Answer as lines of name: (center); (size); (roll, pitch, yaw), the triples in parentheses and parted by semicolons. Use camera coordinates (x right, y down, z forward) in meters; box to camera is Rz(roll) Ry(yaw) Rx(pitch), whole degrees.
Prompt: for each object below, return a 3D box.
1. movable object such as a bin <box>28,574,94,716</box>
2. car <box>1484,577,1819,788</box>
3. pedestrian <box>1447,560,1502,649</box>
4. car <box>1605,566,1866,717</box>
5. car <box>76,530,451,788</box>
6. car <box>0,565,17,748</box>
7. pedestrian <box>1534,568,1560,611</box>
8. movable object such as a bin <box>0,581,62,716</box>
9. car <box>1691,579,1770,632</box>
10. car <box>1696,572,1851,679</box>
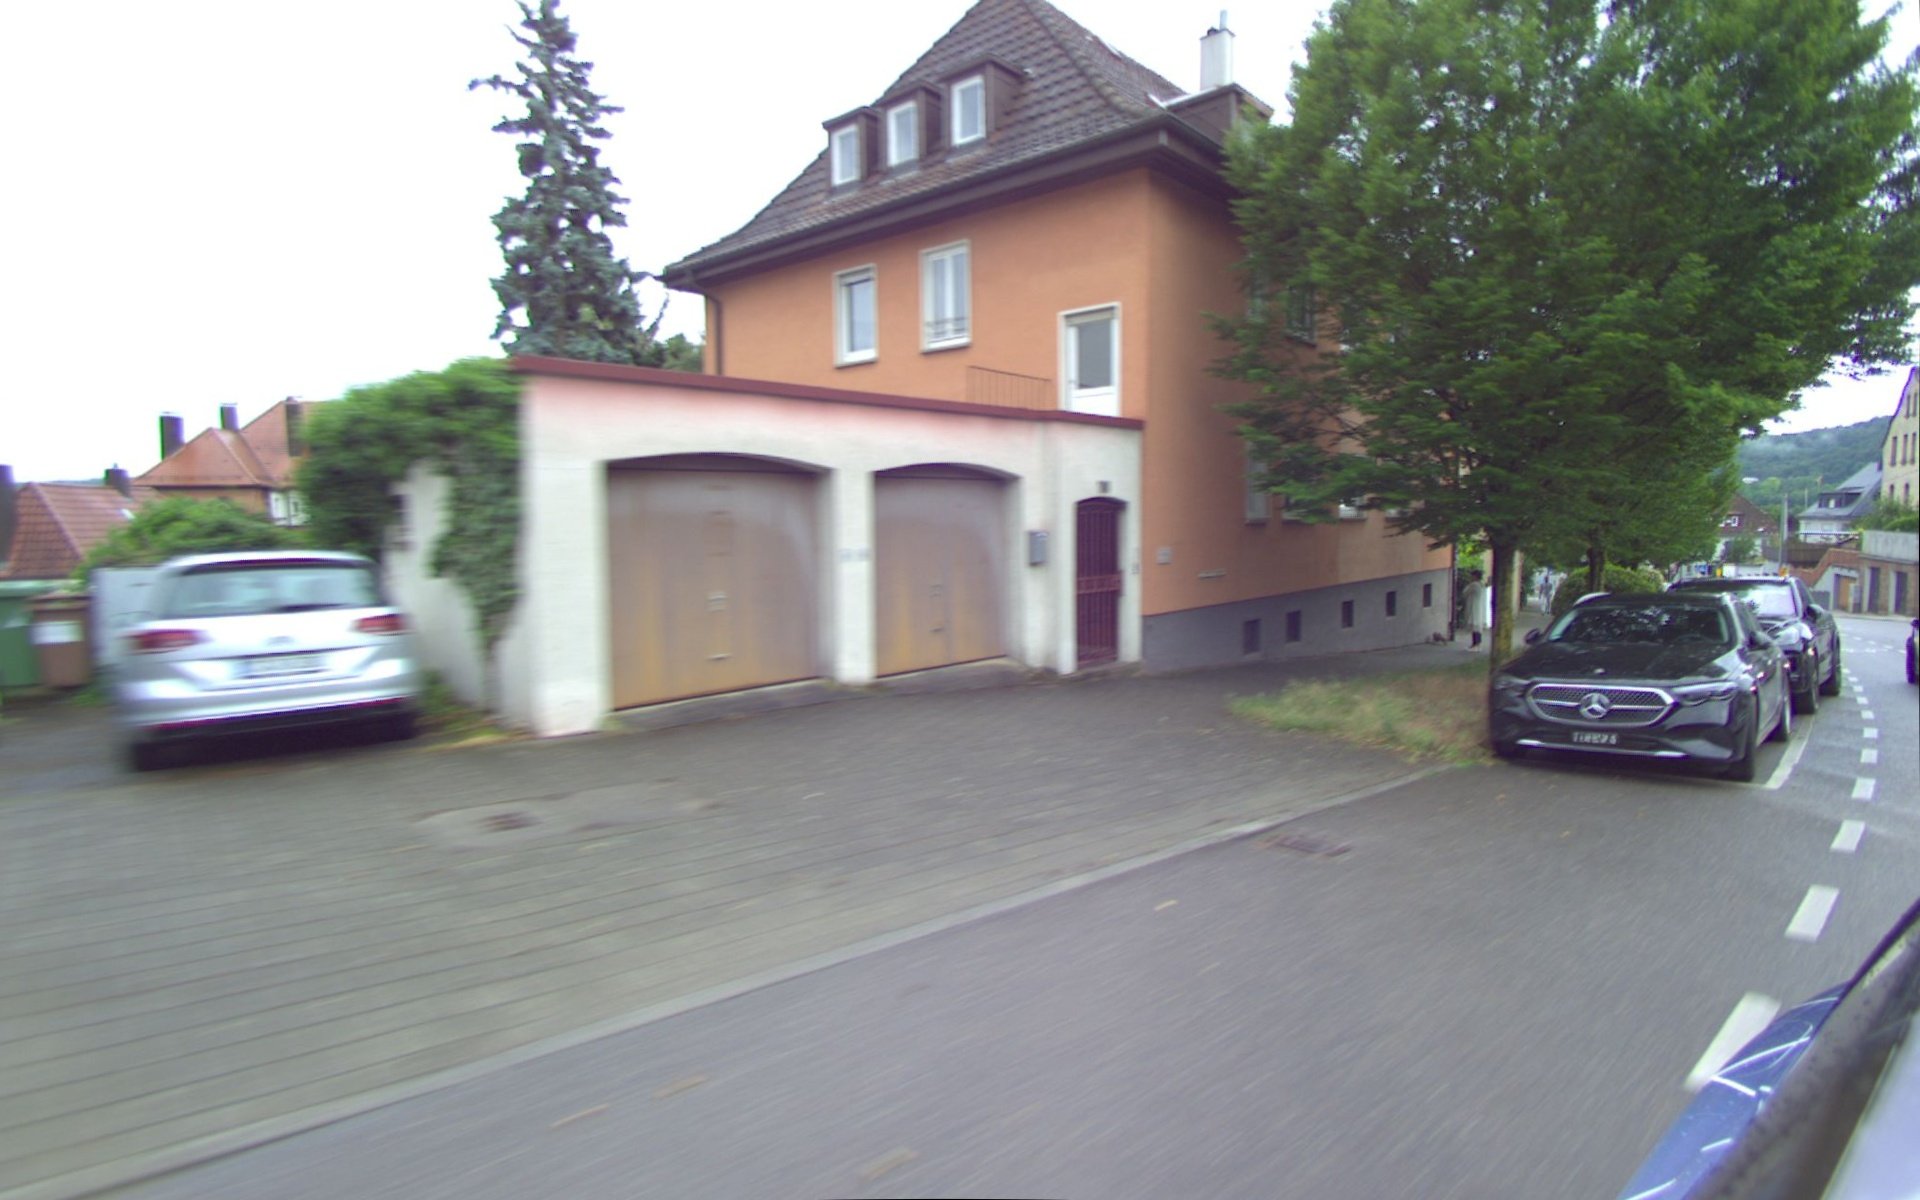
movable object such as a bin: (-9.443, 0.459, 10.644); (0.387, 1.455, 0.447); (0, 1, -21)
car: (6.764, 0.572, 9.618); (1.861, 1.488, 4.977); (-1, 0, 43)
pedestrian: (10.624, 0.074, 20.885); (0.759, 1.741, 0.890); (5, 3, 38)
car: (10.688, 0.417, 13.772); (5.149, 1.676, 2.056); (0, 2, -44)
car: (-5.533, 0.314, 8.148); (1.899, 1.483, 4.316); (-3, 1, -35)
car: (-7.835, 0.447, 6.718); (1.745, 1.484, 3.692); (-1, -1, -34)
pedestrian: (24.194, -0.424, 41.707); (0.829, 1.706, 1.033); (5, 2, 31)
movable object such as a bin: (-9.967, 0.493, 10.660); (0.581, 1.368, 0.623); (0, 1, -22)
car: (23.517, 0.135, 30.987); (1.650, 1.508, 3.952); (0, 0, 34)
car: (14.140, 0.343, 17.711); (1.851, 1.600, 4.791); (2, 2, 38)
